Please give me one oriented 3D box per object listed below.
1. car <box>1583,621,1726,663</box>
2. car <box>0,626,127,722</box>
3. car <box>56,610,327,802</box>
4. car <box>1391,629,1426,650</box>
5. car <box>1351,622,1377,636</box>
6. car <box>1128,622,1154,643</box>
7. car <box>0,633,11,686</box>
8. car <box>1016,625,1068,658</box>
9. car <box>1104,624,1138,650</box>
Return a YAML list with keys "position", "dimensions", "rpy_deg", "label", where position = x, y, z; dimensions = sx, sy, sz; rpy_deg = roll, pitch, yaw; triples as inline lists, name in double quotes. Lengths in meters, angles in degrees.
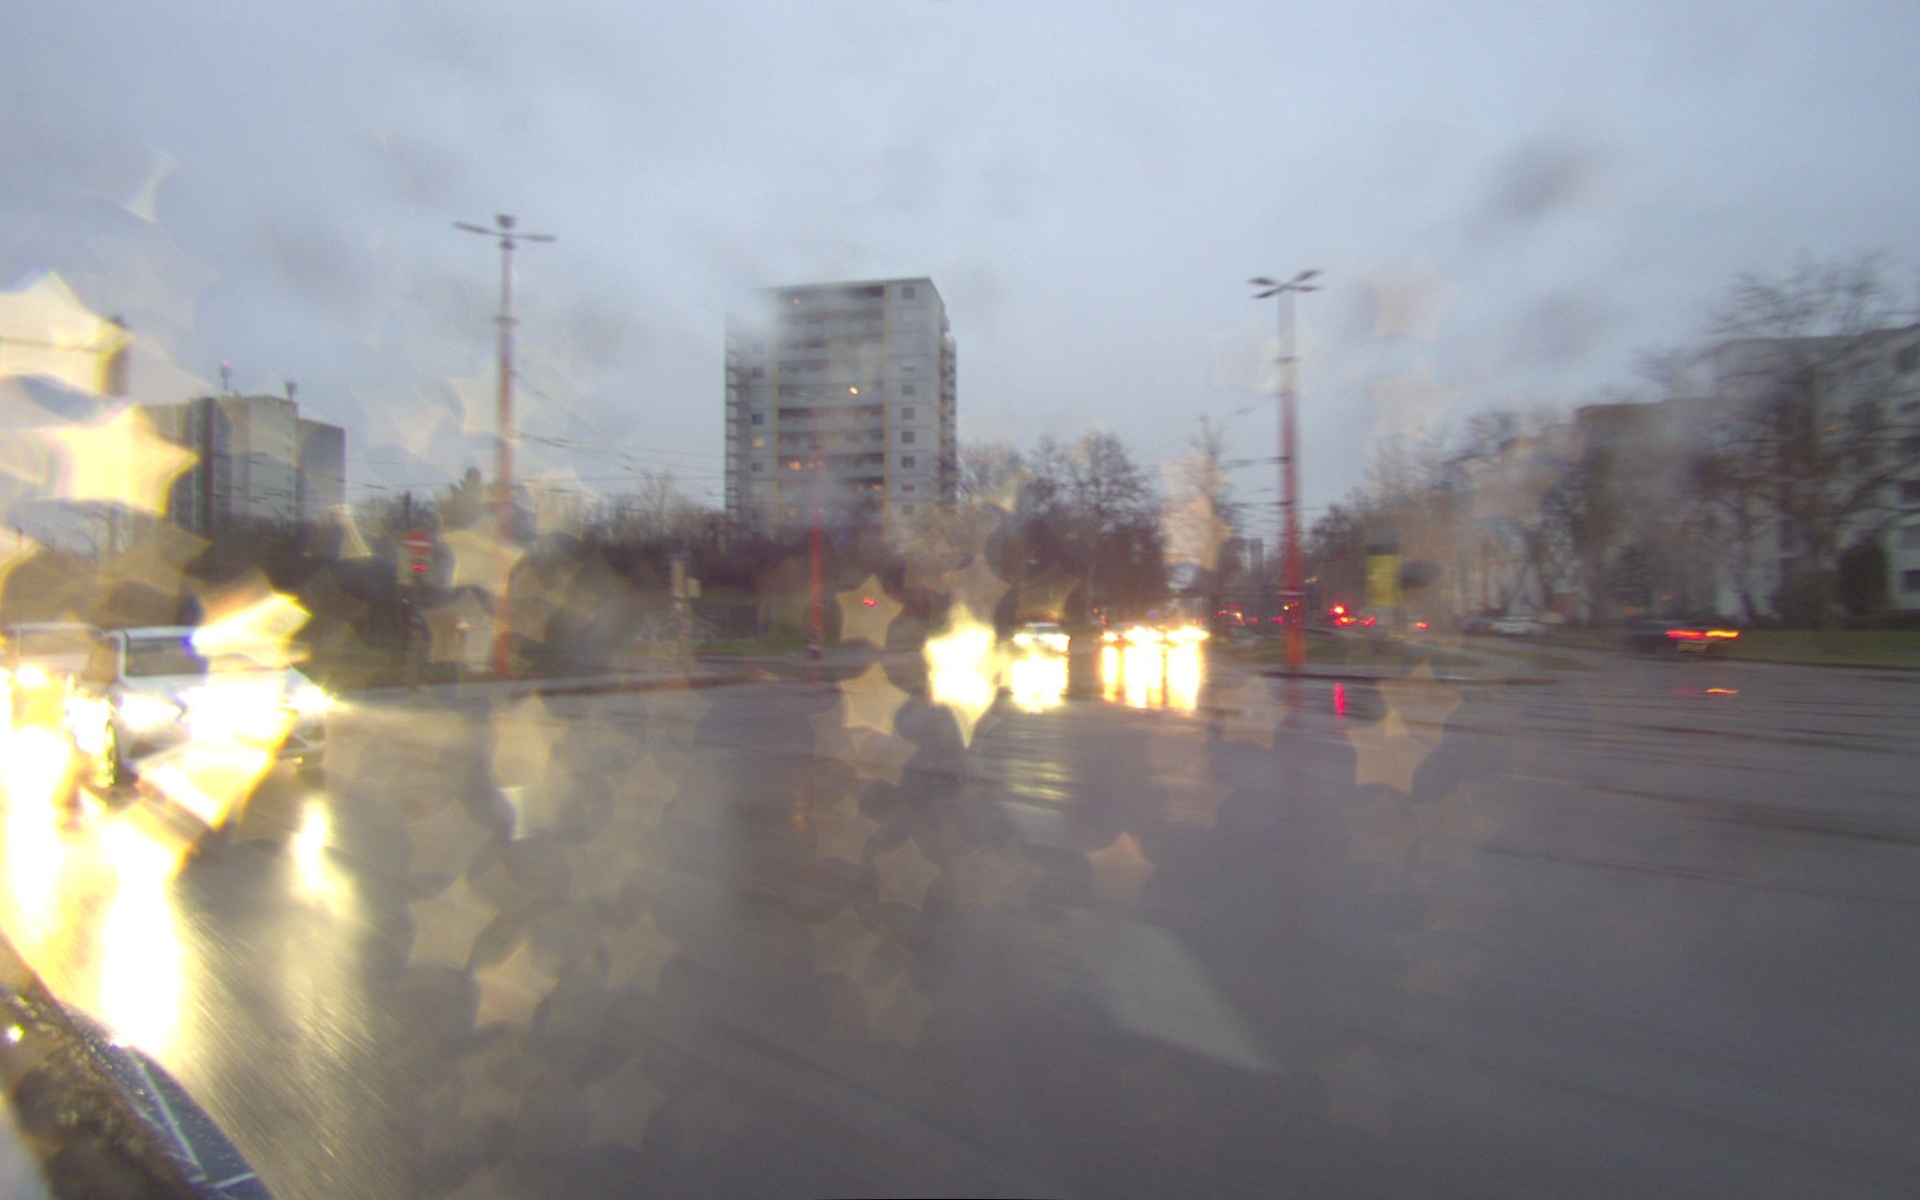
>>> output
- position: [27.025, 1.610, 39.612]
  dimensions: [1.967, 1.541, 4.494]
  rpy_deg: [0, -2, -10]
  label: "car"
- position: [-17.026, 1.296, 18.899]
  dimensions: [4.189, 1.551, 1.672]
  rpy_deg: [-2, -1, 42]
  label: "car"
- position: [-8.321, 0.974, 10.816]
  dimensions: [4.148, 1.660, 1.695]
  rpy_deg: [-2, -2, 44]
  label: "car"
- position: [36.608, 3.242, 82.664]
  dimensions: [1.519, 1.652, 3.989]
  rpy_deg: [-1, -2, 8]
  label: "car"
- position: [42.524, 3.060, 106.608]
  dimensions: [1.757, 1.397, 3.988]
  rpy_deg: [-1, -2, 10]
  label: "car"
- position: [14.060, 2.533, 78.545]
  dimensions: [1.697, 1.556, 3.980]
  rpy_deg: [-1, -2, 15]
  label: "car"
- position: [-30.925, 1.830, 31.288]
  dimensions: [4.122, 1.612, 1.927]
  rpy_deg: [-2, -2, 41]
  label: "car"
- position: [4.114, 2.038, 50.442]
  dimensions: [1.834, 1.556, 4.419]
  rpy_deg: [-1, -2, 15]
  label: "car"
- position: [10.101, 2.306, 63.322]
  dimensions: [1.697, 1.556, 3.980]
  rpy_deg: [-1, -2, 15]
  label: "car"
